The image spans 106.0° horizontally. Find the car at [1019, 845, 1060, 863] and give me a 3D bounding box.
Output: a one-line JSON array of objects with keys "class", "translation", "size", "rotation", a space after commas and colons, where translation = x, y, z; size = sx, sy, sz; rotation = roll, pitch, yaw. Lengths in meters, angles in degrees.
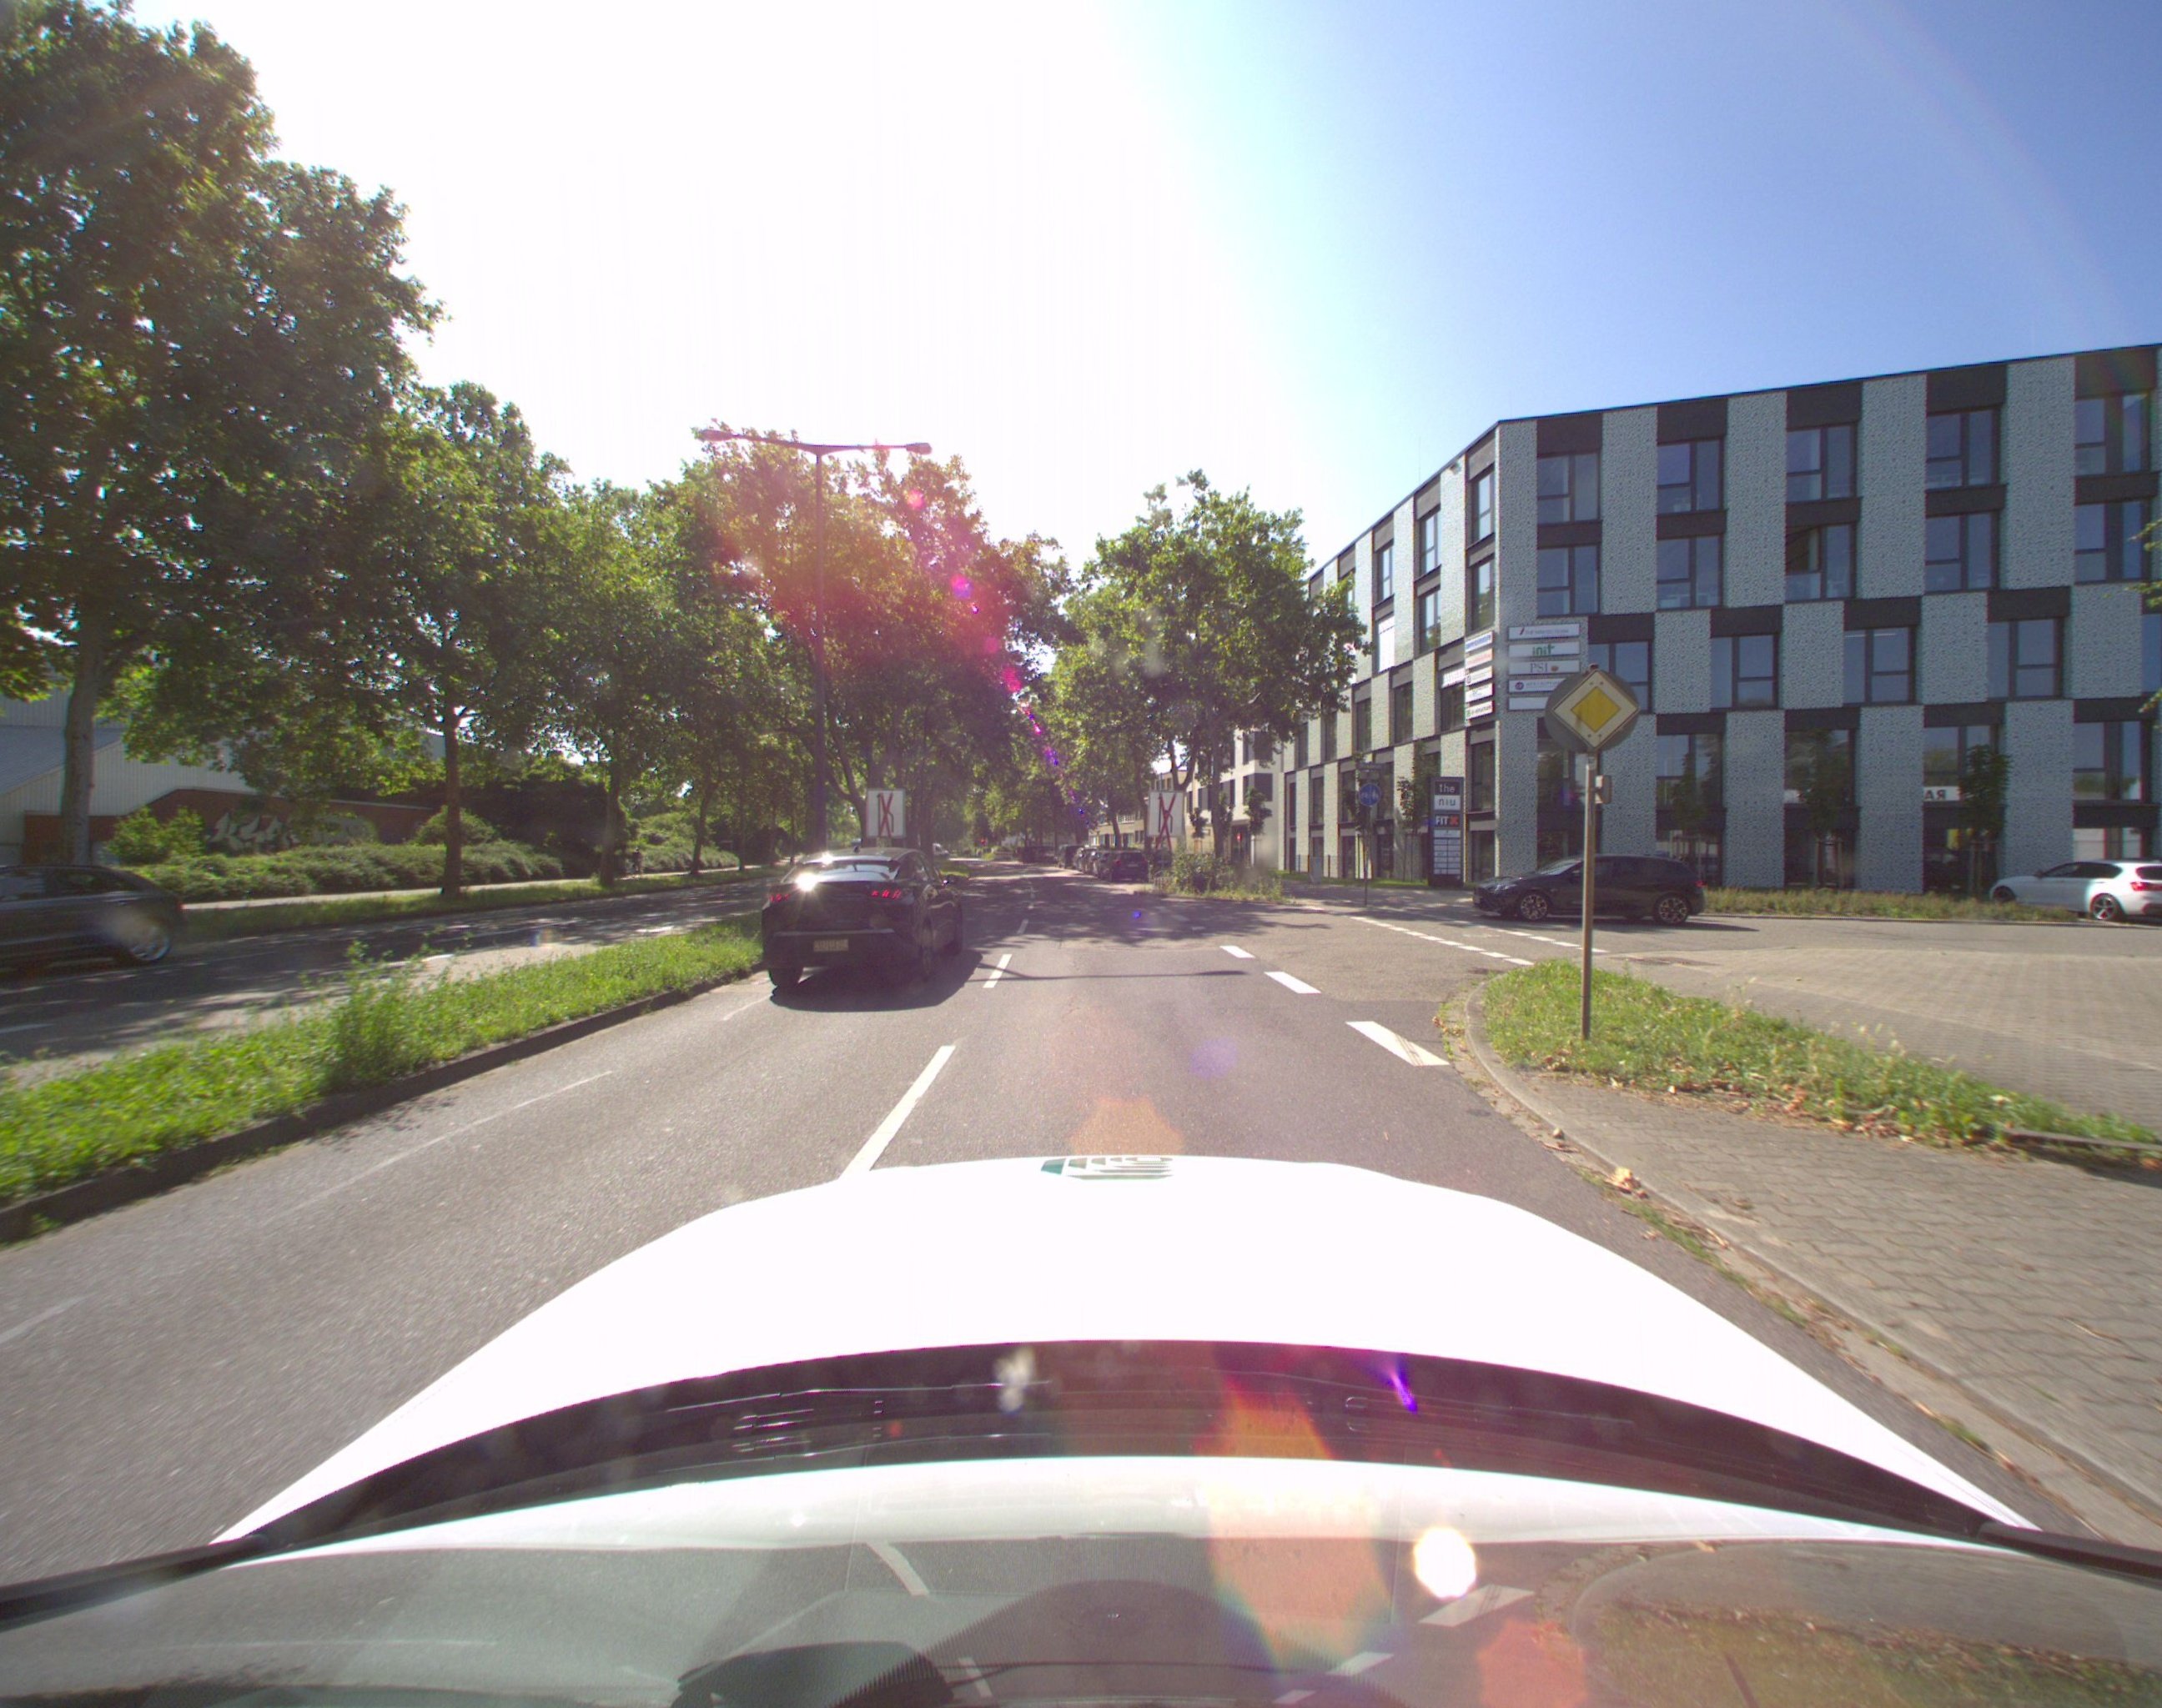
[{"class": "car", "translation": [-4.530, -0.041, 88.805], "size": [4.122, 1.880, 1.769], "rotation": [-1, 0, -27]}]

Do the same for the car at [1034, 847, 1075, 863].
[{"class": "car", "translation": [-2.839, 0.063, 87.048], "size": [4.120, 1.633, 1.698], "rotation": [-1, 0, -25]}]

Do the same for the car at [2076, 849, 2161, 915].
[{"class": "car", "translation": [27.164, 0.720, 19.448], "size": [1.979, 1.551, 4.498], "rotation": [1, 2, 14]}]

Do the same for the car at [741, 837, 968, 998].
[{"class": "car", "translation": [-2.776, 0.694, 11.115], "size": [1.867, 1.696, 4.434], "rotation": [-2, 0, -1]}]

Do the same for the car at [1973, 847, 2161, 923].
[{"class": "car", "translation": [24.533, 0.657, 19.582], "size": [1.979, 1.551, 4.498], "rotation": [1, 2, 14]}]

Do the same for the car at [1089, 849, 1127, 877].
[{"class": "car", "translation": [1.446, 0.465, 45.181], "size": [1.703, 1.487, 4.095], "rotation": [-1, 1, -4]}]

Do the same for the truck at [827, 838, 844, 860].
[{"class": "truck", "translation": [-40.314, -0.869, 133.713], "size": [2.456, 3.449, 7.058], "rotation": [1, 1, -17]}]

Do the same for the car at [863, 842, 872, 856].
[{"class": "car", "translation": [-54.580, -1.254, 207.969], "size": [2.060, 3.434, 6.738], "rotation": [-1, 0, -14]}]

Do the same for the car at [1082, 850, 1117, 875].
[{"class": "car", "translation": [1.106, 0.490, 49.943], "size": [1.703, 1.455, 4.649], "rotation": [-1, 1, -4]}]

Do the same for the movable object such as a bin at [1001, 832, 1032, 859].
[{"class": "movable object such as a bin", "translation": [-7.989, -1.045, 100.881], "size": [2.345, 3.240, 3.394], "rotation": [-1, 0, -34]}]

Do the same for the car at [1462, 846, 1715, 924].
[{"class": "car", "translation": [10.762, 0.606, 17.624], "size": [4.219, 1.517, 2.007], "rotation": [1, 0, 12]}]

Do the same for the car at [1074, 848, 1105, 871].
[{"class": "car", "translation": [0.563, 0.366, 57.695], "size": [1.705, 1.487, 4.474], "rotation": [-1, 1, -6]}]

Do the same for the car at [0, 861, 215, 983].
[{"class": "car", "translation": [-14.997, 0.923, 11.089], "size": [1.790, 1.556, 4.392], "rotation": [-1, 0, -2]}]

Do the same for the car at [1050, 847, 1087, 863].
[{"class": "car", "translation": [-1.301, 0.102, 83.053], "size": [3.555, 1.640, 1.652], "rotation": [-1, 0, -12]}]

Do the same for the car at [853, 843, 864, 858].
[{"class": "car", "translation": [-53.749, -0.847, 196.899], "size": [2.455, 3.449, 7.063], "rotation": [1, 1, -15]}]

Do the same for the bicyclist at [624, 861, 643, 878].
[{"class": "bicyclist", "translation": [-26.786, 0.925, 48.785], "size": [0.427, 1.013, 1.423], "rotation": [0, 0, -4]}]

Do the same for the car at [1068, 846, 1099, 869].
[{"class": "car", "translation": [0.158, 0.209, 62.447], "size": [1.706, 1.669, 4.519], "rotation": [-1, 1, -9]}]

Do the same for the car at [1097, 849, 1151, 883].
[{"class": "car", "translation": [1.990, 0.538, 39.301], "size": [1.706, 1.487, 4.706], "rotation": [-2, 1, -8]}]

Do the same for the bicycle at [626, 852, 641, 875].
[{"class": "bicycle", "translation": [-26.782, 0.577, 48.785], "size": [0.427, 1.385, 0.953], "rotation": [0, 0, -4]}]
